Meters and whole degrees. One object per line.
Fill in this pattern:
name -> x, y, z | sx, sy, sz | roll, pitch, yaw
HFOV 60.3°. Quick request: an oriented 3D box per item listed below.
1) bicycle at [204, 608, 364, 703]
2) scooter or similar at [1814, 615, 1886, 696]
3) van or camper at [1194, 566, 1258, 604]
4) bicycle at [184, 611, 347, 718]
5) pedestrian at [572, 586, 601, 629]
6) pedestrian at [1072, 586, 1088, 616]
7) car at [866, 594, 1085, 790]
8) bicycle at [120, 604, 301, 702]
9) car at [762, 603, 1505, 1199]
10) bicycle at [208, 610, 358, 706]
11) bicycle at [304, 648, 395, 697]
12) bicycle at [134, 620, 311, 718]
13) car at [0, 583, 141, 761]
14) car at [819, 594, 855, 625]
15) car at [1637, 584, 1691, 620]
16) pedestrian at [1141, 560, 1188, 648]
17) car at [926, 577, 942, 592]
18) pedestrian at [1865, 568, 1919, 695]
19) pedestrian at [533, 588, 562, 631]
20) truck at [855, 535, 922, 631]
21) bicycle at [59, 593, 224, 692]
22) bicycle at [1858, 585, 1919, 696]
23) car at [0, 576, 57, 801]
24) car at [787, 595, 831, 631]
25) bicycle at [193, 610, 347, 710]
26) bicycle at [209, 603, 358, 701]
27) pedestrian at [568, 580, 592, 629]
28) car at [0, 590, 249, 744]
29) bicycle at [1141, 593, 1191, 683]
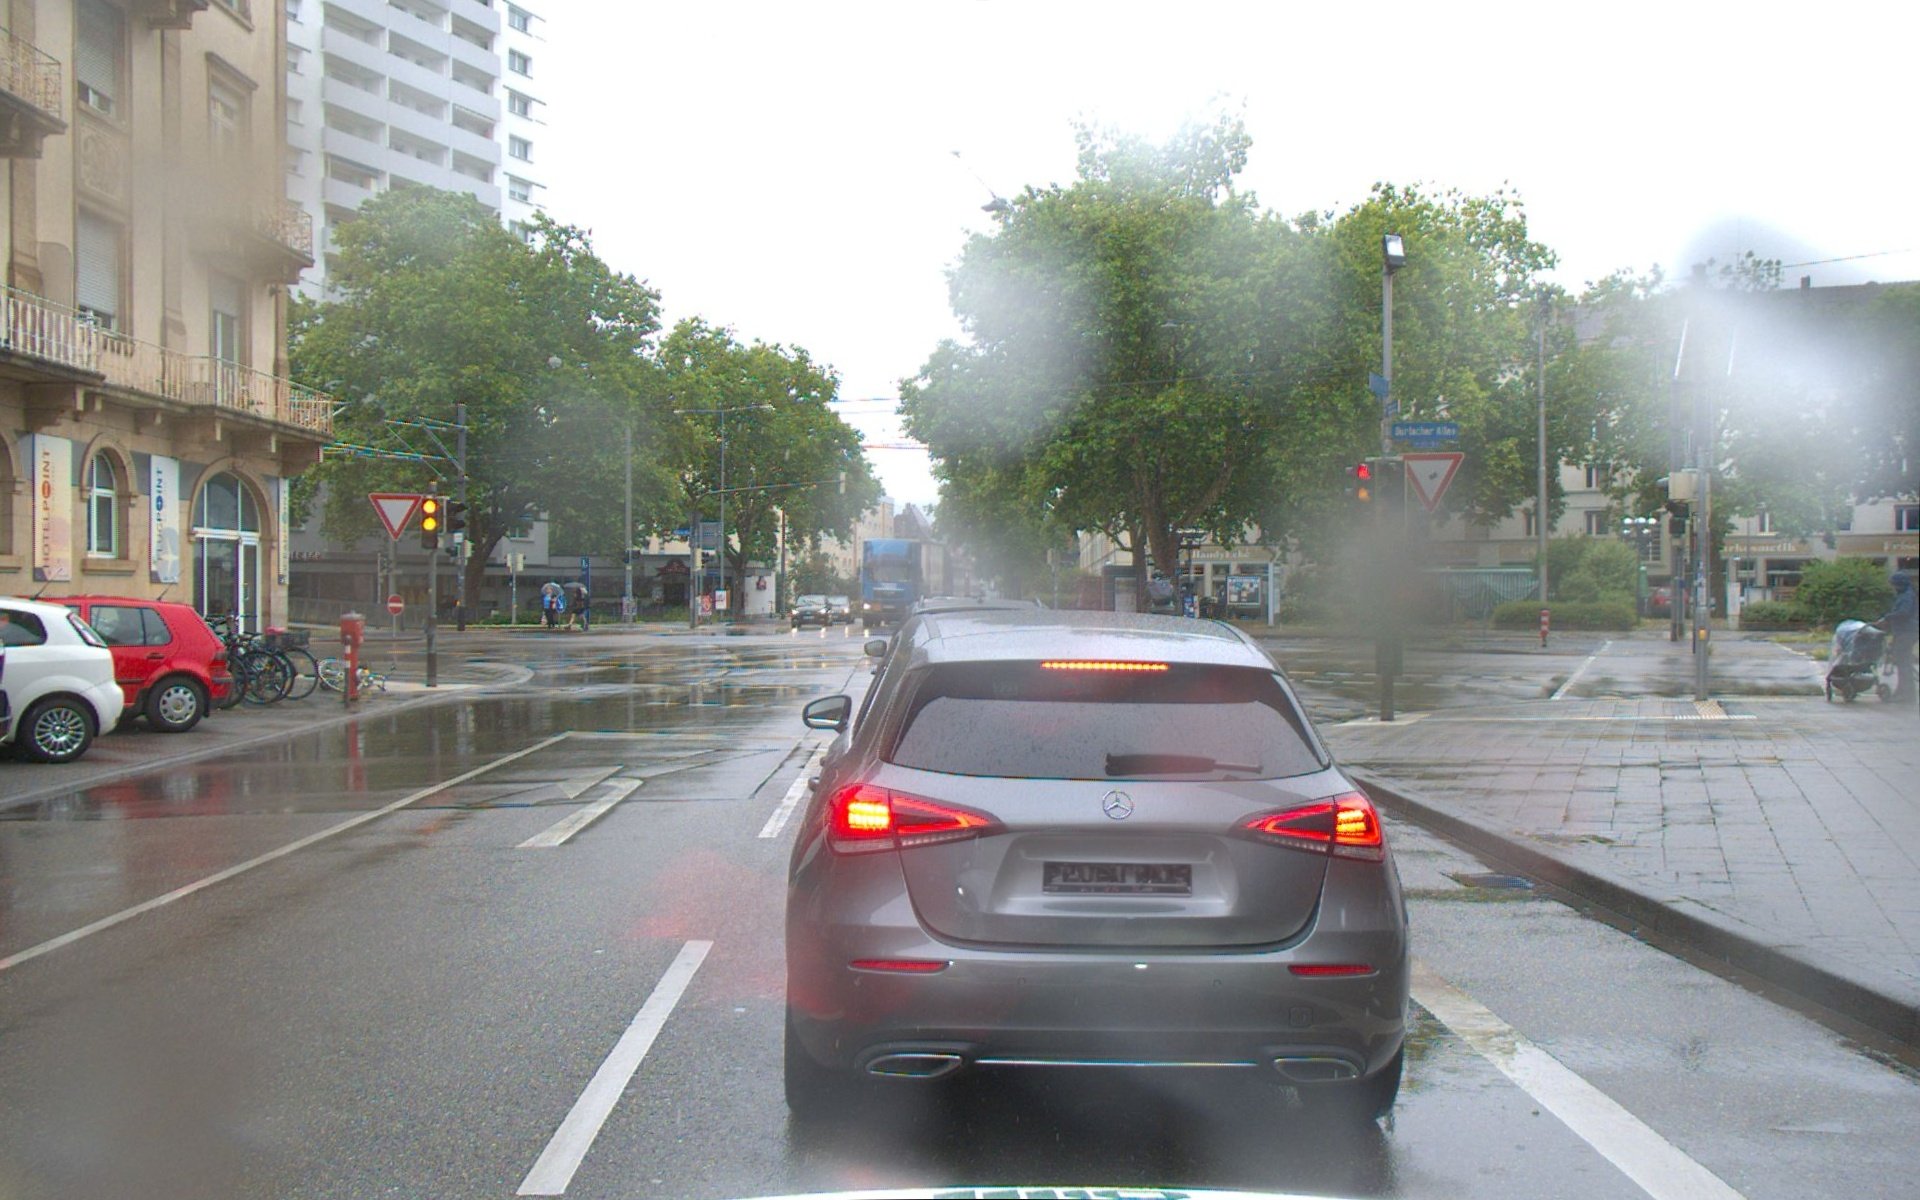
bicycle -> -9.396, 0.766, 23.029 | 1.941, 1.205, 0.474 | 3, 0, -4
scooter or similar -> 12.189, 0.744, 22.664 | 0.502, 1.067, 0.924 | -1, 0, 2
van or camper -> 16.372, -0.887, 101.559 | 2.349, 2.270, 5.424 | -1, 0, 27
bicycle -> -8.794, 0.807, 20.969 | 1.772, 1.205, 0.601 | 4, 0, 4
pedestrian -> -15.000, 0.296, 66.452 | 0.817, 1.677, 0.756 | -1, 0, 14
pedestrian -> 6.921, 0.055, 95.664 | 0.703, 1.698, 0.664 | -1, 0, 30
car -> 0.085, 0.661, 14.040 | 1.574, 1.396, 3.999 | -1, 0, -1
bicycle -> -10.893, 0.753, 24.093 | 2.295, 1.369, 0.639 | -1, 0, -6
car -> 0.393, 0.734, 5.694 | 1.755, 1.396, 3.506 | 1, 0, -1
bicycle -> -9.214, 0.784, 22.546 | 1.774, 1.205, 0.468 | 3, 0, -3
bicycle -> -9.306, 1.104, 25.189 | 1.029, 0.675, 1.462 | 2, -1, -31
bicycle -> -11.013, 1.017, 24.752 | 2.295, 1.369, 0.639 | -1, 0, -6
car -> -9.712, 0.618, 14.824 | 3.957, 1.560, 1.679 | 1, 0, -41
car -> -6.480, 0.503, 87.464 | 1.691, 1.573, 4.339 | -1, 0, -1
car -> 31.316, 0.084, 73.606 | 1.627, 1.548, 3.682 | -1, 0, 14
pedestrian -> 3.396, 0.060, 27.514 | 0.728, 1.422, 1.048 | -1, 0, 6
car -> -3.447, -2.030, 218.569 | 1.850, 1.868, 4.001 | -1, 0, 3
pedestrian -> 12.722, 0.413, 22.384 | 0.590, 1.692, 0.689 | -1, 0, 2
pedestrian -> -16.396, 0.357, 65.799 | 0.774, 1.677, 0.817 | -1, 0, 14
truck -> -3.209, -0.760, 76.709 | 2.788, 4.095, 10.313 | -1, 0, -1
bicycle -> -11.698, 0.598, 23.678 | 2.017, 1.369, 0.584 | -1, 0, -6
bicycle -> 13.124, 0.539, 22.463 | 0.522, 1.492, 1.935 | -1, 0, -10
car -> -9.219, 0.646, 12.375 | 4.048, 1.721, 1.738 | 1, 0, -41
car -> -6.888, 0.584, 75.664 | 1.708, 1.573, 3.778 | -1, 0, -1
bicycle -> -9.174, 0.790, 22.026 | 1.774, 1.205, 0.475 | 3, 0, -3
bicycle -> -9.653, 0.738, 23.627 | 1.935, 1.353, 0.438 | -1, 0, 1
pedestrian -> -14.690, 0.172, 63.969 | 0.674, 1.870, 0.630 | -1, 0, -43
car -> -10.010, 0.706, 17.856 | 3.961, 1.534, 1.778 | -1, 0, -39
bicycle -> 3.415, 0.596, 27.560 | 0.733, 1.401, 2.709 | -1, 0, 6
